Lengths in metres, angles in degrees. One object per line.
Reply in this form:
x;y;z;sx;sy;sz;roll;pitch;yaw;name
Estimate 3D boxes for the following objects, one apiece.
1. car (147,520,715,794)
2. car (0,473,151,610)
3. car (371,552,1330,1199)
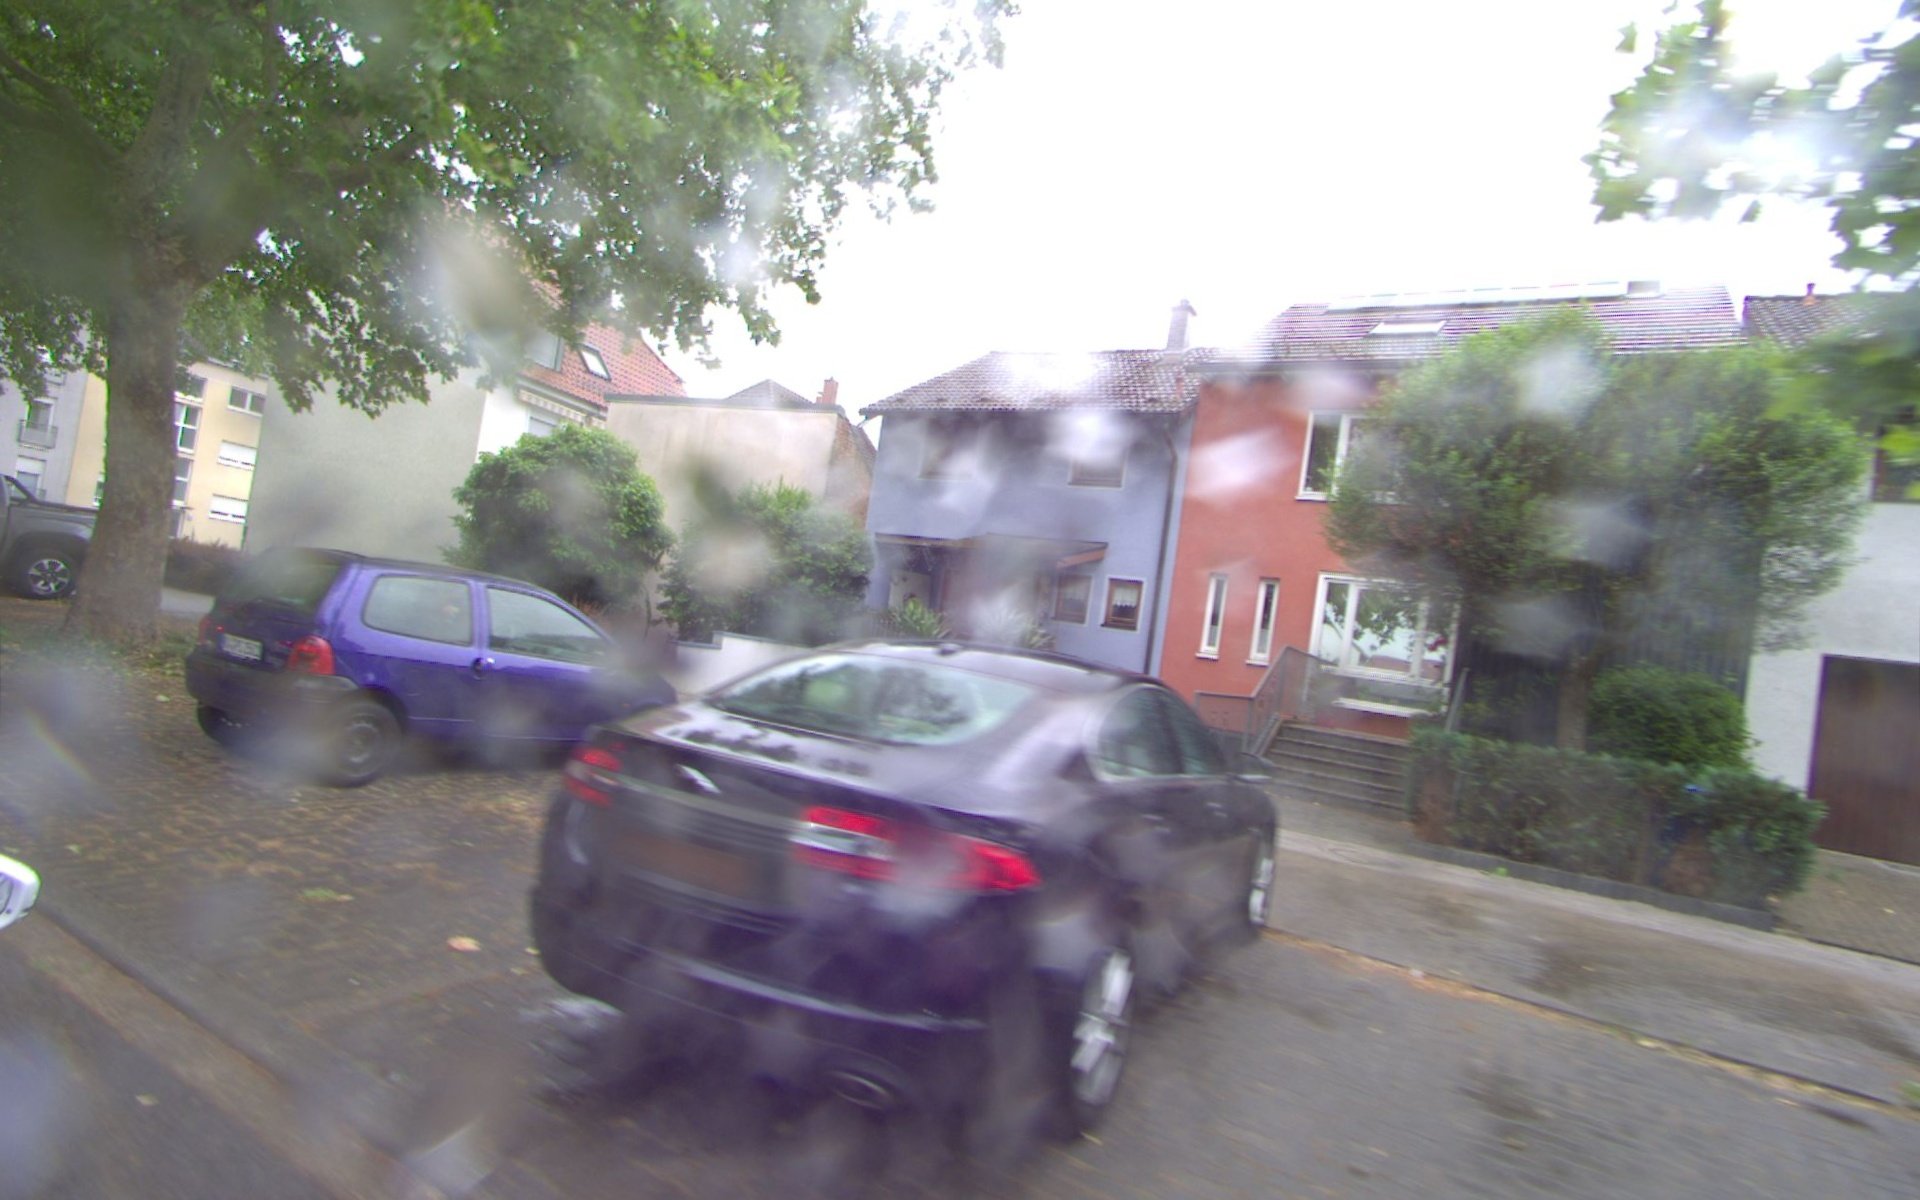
-3.723;0.475;7.654;1.591;1.480;3.364;8;-2;30;car
-15.029;-1.101;14.111;1.812;1.827;5.357;8;-2;25;car
0.305;0.935;4.595;1.903;1.490;4.780;8;-2;27;car
